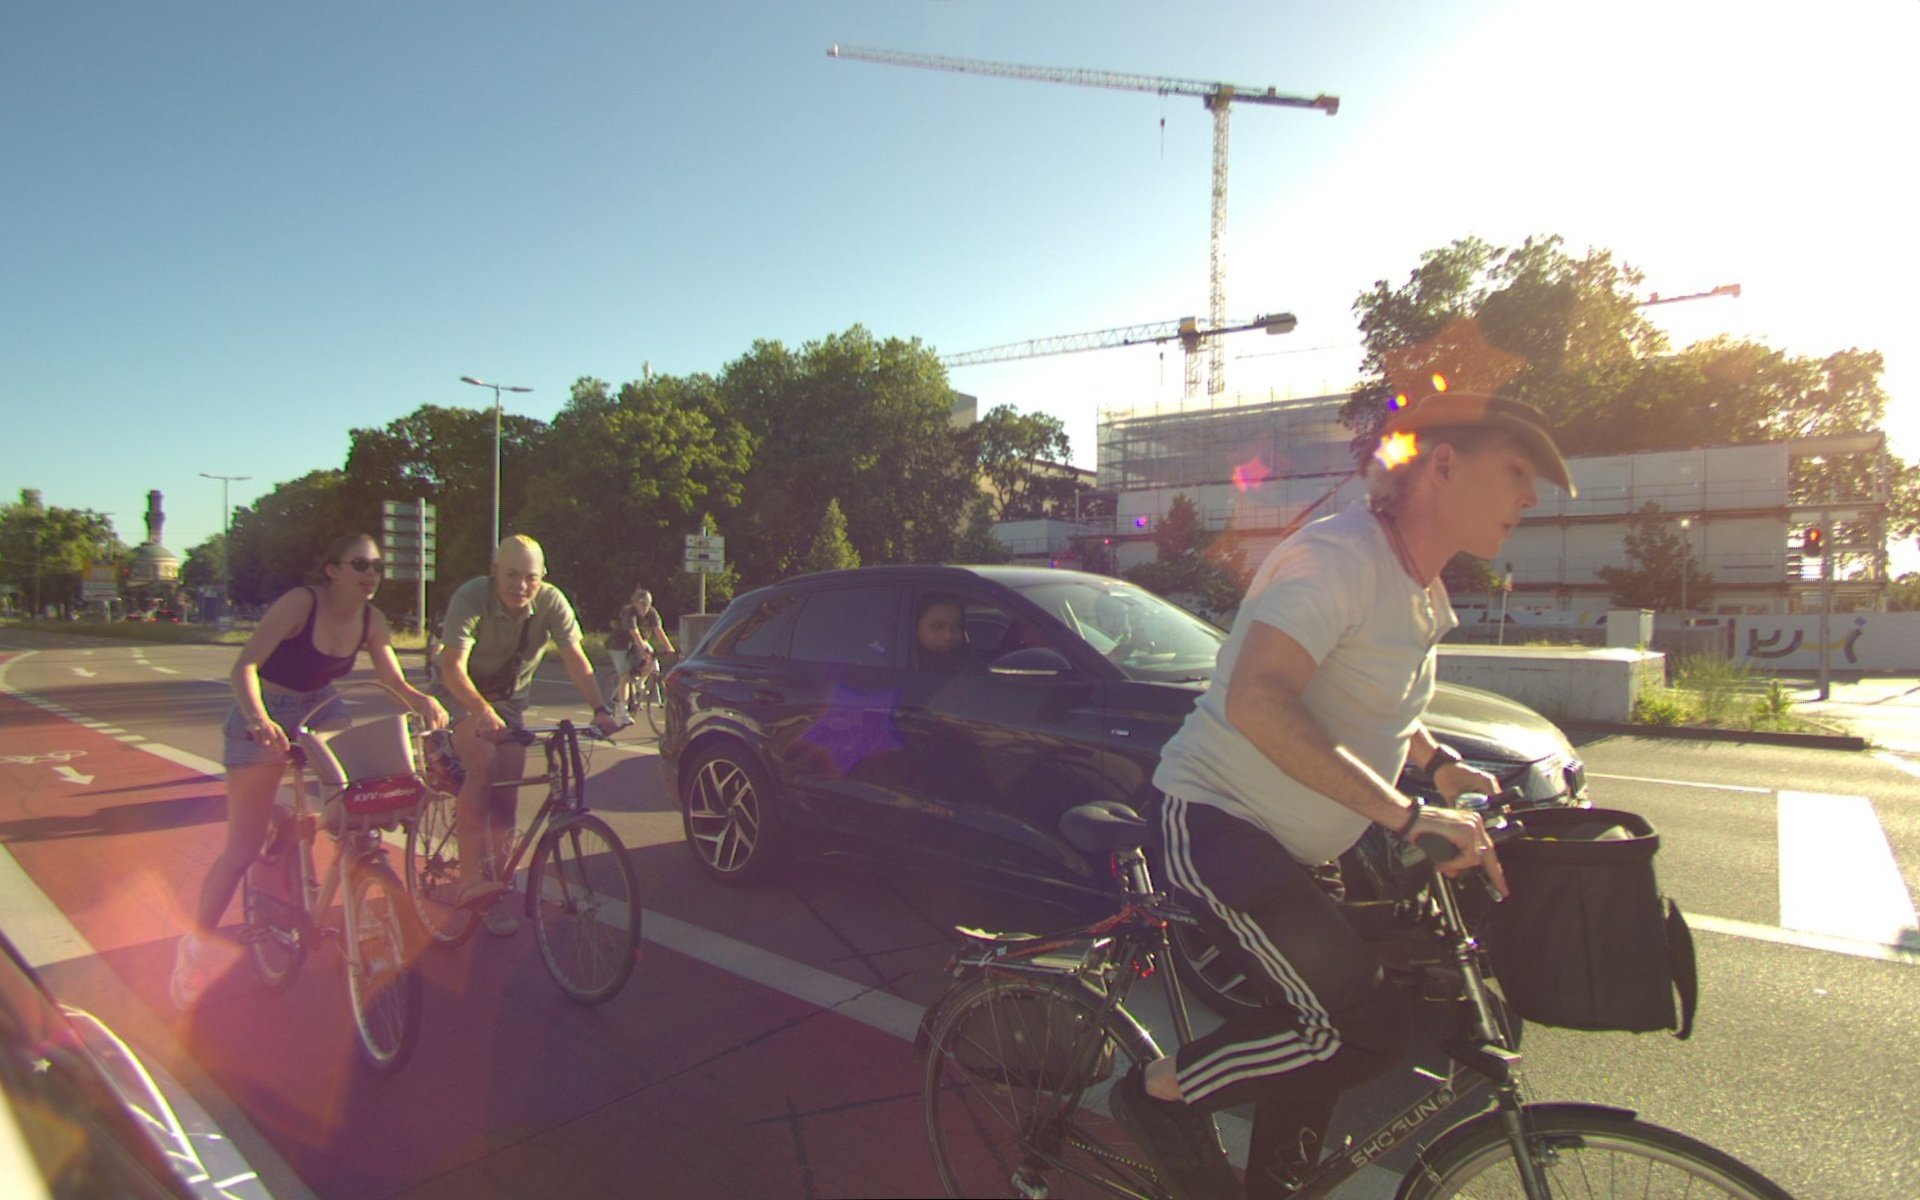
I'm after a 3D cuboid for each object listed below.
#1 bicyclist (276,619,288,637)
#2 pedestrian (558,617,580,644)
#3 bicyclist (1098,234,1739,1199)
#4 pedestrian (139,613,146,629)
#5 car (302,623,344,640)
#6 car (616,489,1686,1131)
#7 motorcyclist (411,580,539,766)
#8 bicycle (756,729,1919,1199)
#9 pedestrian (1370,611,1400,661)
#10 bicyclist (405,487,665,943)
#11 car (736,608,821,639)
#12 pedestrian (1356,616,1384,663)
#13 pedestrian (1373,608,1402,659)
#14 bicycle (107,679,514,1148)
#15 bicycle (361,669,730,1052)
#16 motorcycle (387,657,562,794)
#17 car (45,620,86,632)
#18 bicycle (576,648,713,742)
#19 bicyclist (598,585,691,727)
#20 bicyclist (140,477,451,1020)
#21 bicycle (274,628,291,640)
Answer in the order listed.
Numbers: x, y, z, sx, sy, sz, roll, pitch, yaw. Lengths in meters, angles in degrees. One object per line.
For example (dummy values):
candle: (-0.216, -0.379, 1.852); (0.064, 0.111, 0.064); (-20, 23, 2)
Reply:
bicyclist: (-51.367, 2.117, 76.686); (0.768, 1.377, 0.609); (-1, -2, 42)
pedestrian: (-25.841, 2.006, 66.882); (0.964, 1.796, 0.984); (0, 0, 42)
bicyclist: (0.730, 0.443, 1.620); (0.785, 1.682, 0.693); (-1, -2, 36)
pedestrian: (-101.486, 2.596, 125.663); (0.594, 2.029, 0.519); (-1, -2, 39)
car: (-46.462, 2.260, 73.801); (3.768, 1.141, 1.597); (-1, 0, 41)
car: (0.581, 0.581, 5.032); (4.788, 1.675, 2.172); (-1, -1, 40)
motorcyclist: (-4.194, 0.593, 8.743); (0.882, 1.495, 0.746); (-1, -1, 44)
bicycle: (0.525, 0.868, 1.764); (1.797, 1.102, 0.700); (-1, -1, 36)
pedestrian: (13.792, 1.171, 32.854); (0.654, 1.601, 0.828); (-1, -2, 42)
bicyclist: (-1.709, 0.406, 4.057); (0.894, 1.587, 0.617); (-1, -2, 41)
car: (-11.734, 1.531, 65.719); (2.000, 1.906, 5.254); (-2, -2, 43)
pedestrian: (13.032, 1.248, 32.183); (0.654, 1.464, 0.595); (-1, -2, 42)
pedestrian: (14.232, 1.112, 33.682); (0.654, 1.693, 0.828); (-1, -2, 42)
bicycle: (-2.270, 0.871, 3.439); (1.799, 1.102, 0.643); (-1, -2, 40)
bicycle: (-1.723, 0.882, 4.048); (1.815, 1.125, 0.617); (-1, -2, 41)
motorcycle: (-4.261, 1.024, 8.804); (1.960, 0.976, 0.746); (-1, -1, 44)
car: (-110.298, 3.200, 124.784); (1.619, 1.463, 3.717); (-1, 0, 43)
bicycle: (-3.587, 1.032, 11.407); (1.910, 0.915, 0.616); (-1, -1, 43)
bicyclist: (-3.549, 0.605, 11.375); (0.938, 1.514, 0.616); (-1, -1, 43)
bicyclist: (-2.251, 0.432, 3.430); (0.847, 1.554, 0.643); (-1, -2, 40)
bicycle: (-51.371, 2.569, 76.680); (1.979, 0.810, 0.609); (-1, -2, 42)
